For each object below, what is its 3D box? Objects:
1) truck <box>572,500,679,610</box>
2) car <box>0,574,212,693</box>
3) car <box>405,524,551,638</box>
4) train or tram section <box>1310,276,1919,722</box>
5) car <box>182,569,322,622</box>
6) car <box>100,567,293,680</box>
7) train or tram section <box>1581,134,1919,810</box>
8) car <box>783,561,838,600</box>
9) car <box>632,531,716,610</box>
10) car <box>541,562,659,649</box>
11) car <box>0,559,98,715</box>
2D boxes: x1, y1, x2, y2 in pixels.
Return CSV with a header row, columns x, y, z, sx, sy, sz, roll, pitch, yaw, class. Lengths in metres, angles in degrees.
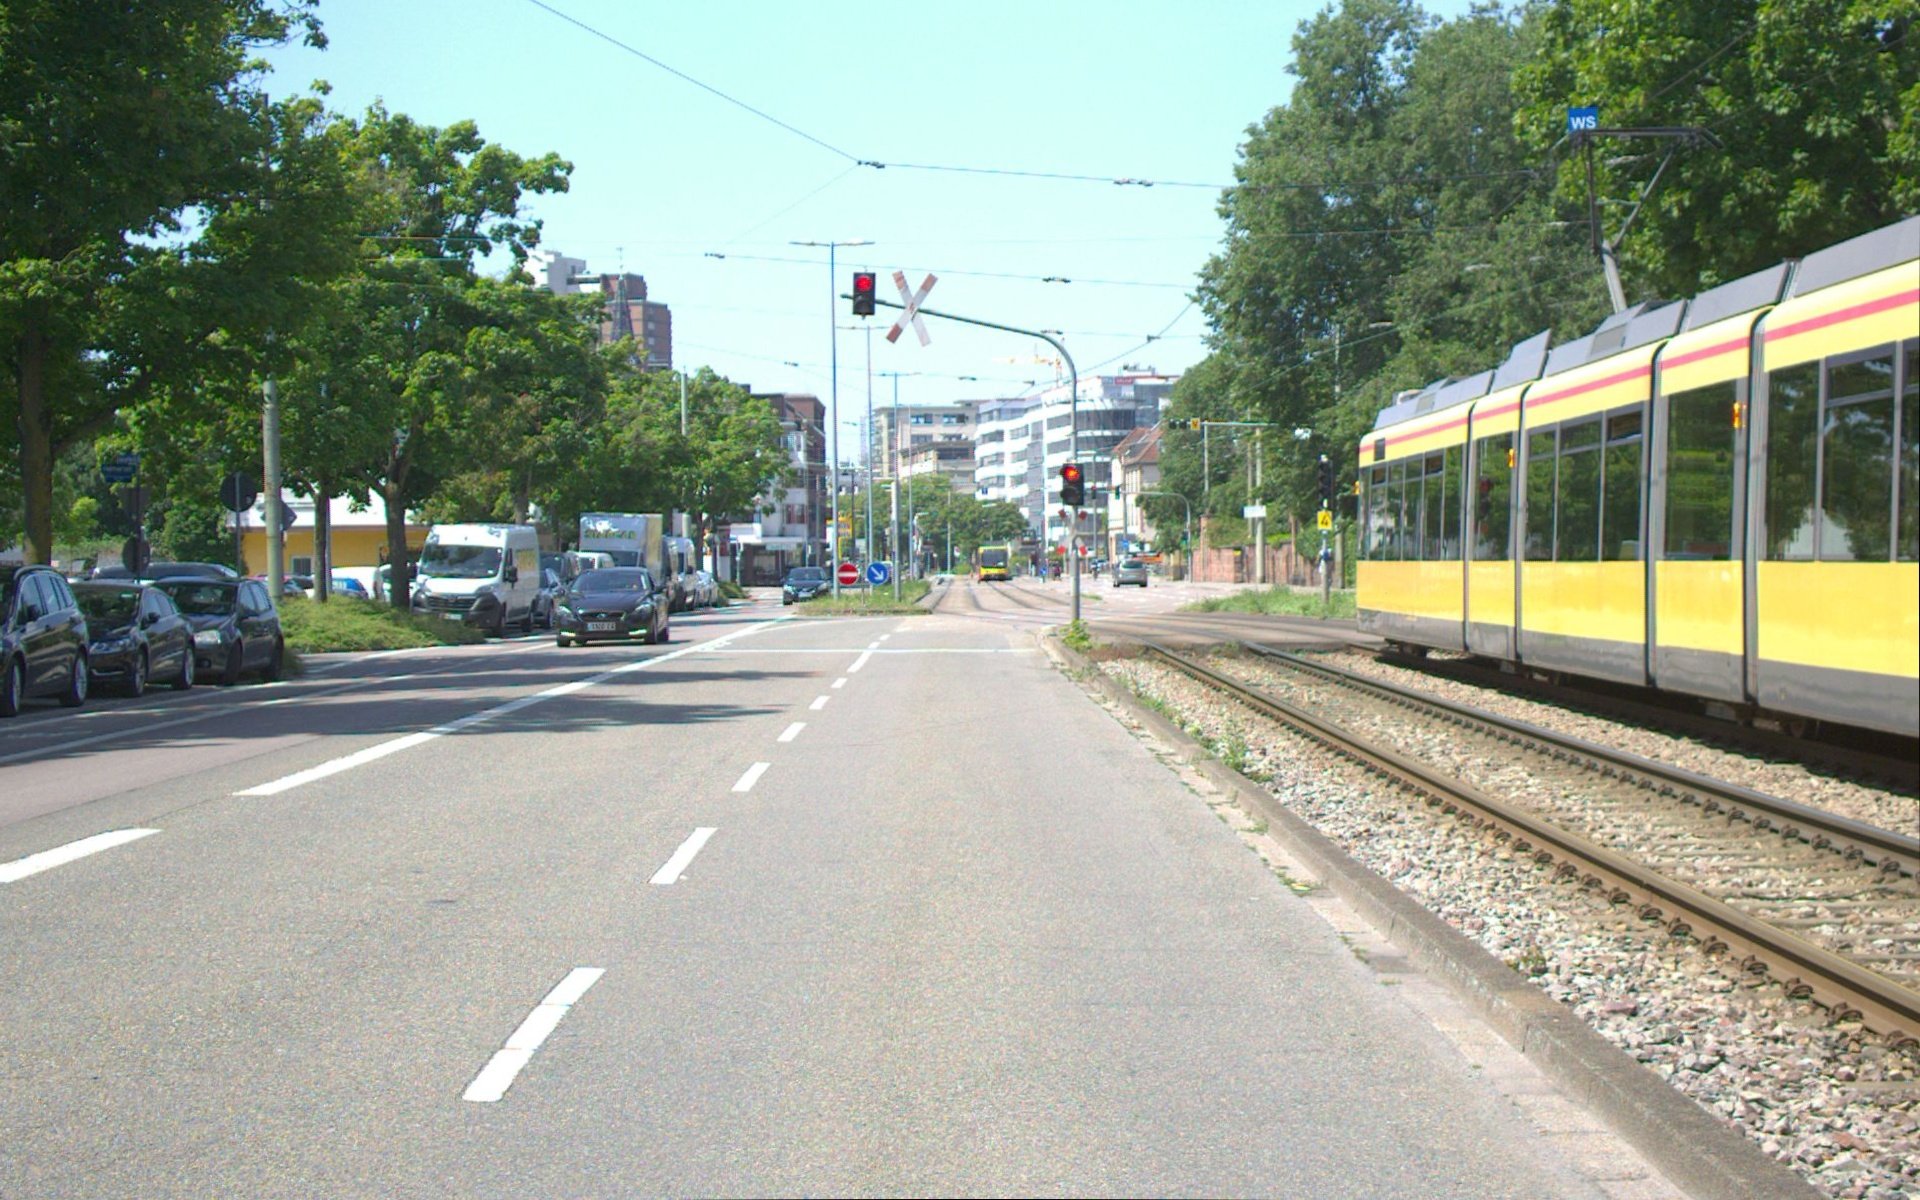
x,y,z,sx,sy,sz,roll,pitch,yaw,class
-10.297,-1.400,106.361,2.157,3.199,7.081,2,1,3,truck
-10.834,0.384,43.560,1.774,1.368,4.697,1,1,-1,car
-10.899,-0.458,78.271,2.157,2.478,6.192,-1,1,3,car
6.534,-0.991,38.634,2.943,3.679,20.285,0,1,0,train or tram section
-22.173,-0.150,107.739,3.987,1.601,1.805,-1,1,0,car
-10.664,0.296,48.273,1.774,1.476,4.048,1,1,0,car
6.694,-0.702,19.276,2.943,3.679,18.390,0,1,0,train or tram section
-5.757,-0.748,132.604,1.678,1.393,4.005,-3,1,3,car
-10.076,-1.051,121.568,2.157,2.630,5.611,2,1,3,car
-6.525,0.079,62.678,1.774,1.455,4.195,-2,1,-1,car
-10.880,0.354,37.724,1.774,1.598,4.638,0,1,-1,car
